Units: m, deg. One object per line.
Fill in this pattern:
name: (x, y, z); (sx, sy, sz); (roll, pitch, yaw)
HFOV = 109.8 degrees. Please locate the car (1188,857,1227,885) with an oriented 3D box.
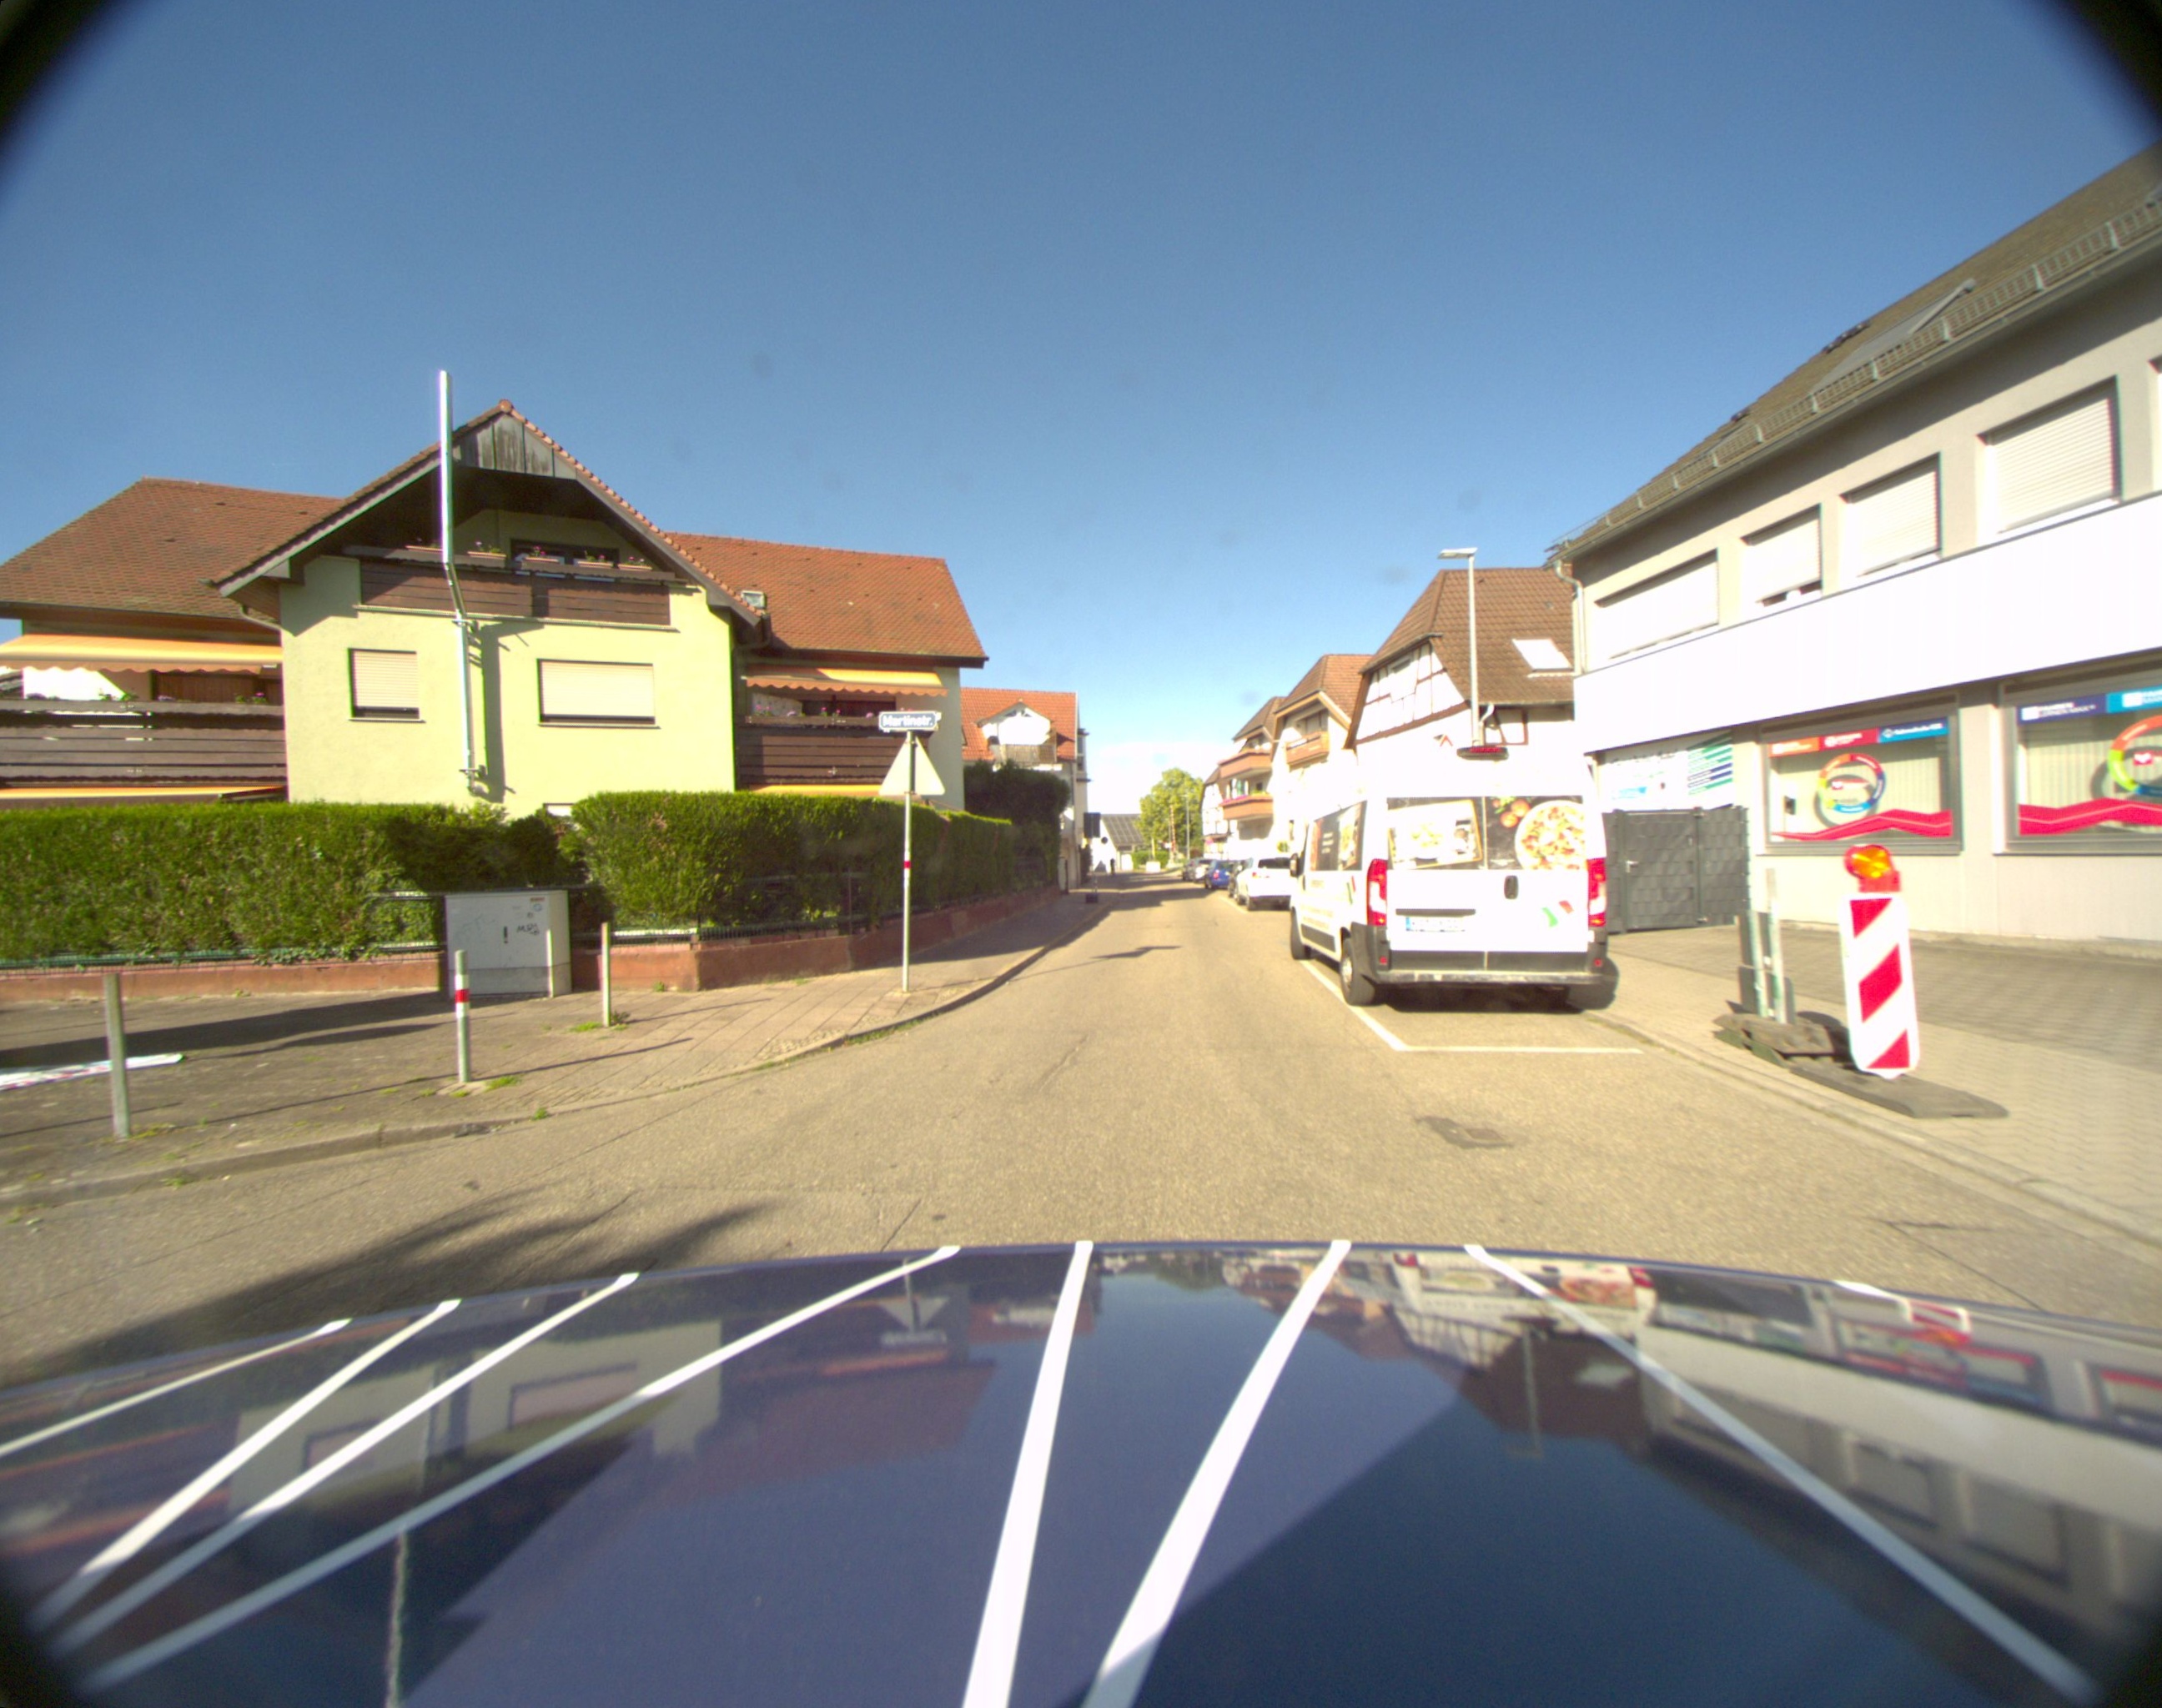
car: (7.425, 0.982, 44.887); (1.763, 1.547, 4.000); (-1, 0, 2)

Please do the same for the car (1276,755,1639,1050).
car: (3.869, 0.434, 9.197); (2.257, 2.456, 5.519); (-1, 0, 8)

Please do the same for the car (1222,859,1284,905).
car: (6.157, 0.976, 27.489); (1.659, 1.498, 3.685); (-1, 0, 5)

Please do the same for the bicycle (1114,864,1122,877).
bicycle: (3.497, 1.509, 71.428); (0.639, 1.175, 2.022); (-1, 0, 6)

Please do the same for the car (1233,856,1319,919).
car: (5.525, 0.894, 22.019); (1.726, 1.609, 4.113); (-1, 0, 5)

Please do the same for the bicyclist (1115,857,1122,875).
bicyclist: (3.509, 1.139, 71.294); (0.643, 1.655, 0.605); (2, 1, 5)

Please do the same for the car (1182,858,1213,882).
car: (7.694, 1.051, 50.430); (1.627, 1.468, 3.616); (-1, 0, 2)

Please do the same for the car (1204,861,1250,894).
car: (6.835, 1.059, 35.955); (1.622, 1.430, 3.957); (-1, 0, 4)
